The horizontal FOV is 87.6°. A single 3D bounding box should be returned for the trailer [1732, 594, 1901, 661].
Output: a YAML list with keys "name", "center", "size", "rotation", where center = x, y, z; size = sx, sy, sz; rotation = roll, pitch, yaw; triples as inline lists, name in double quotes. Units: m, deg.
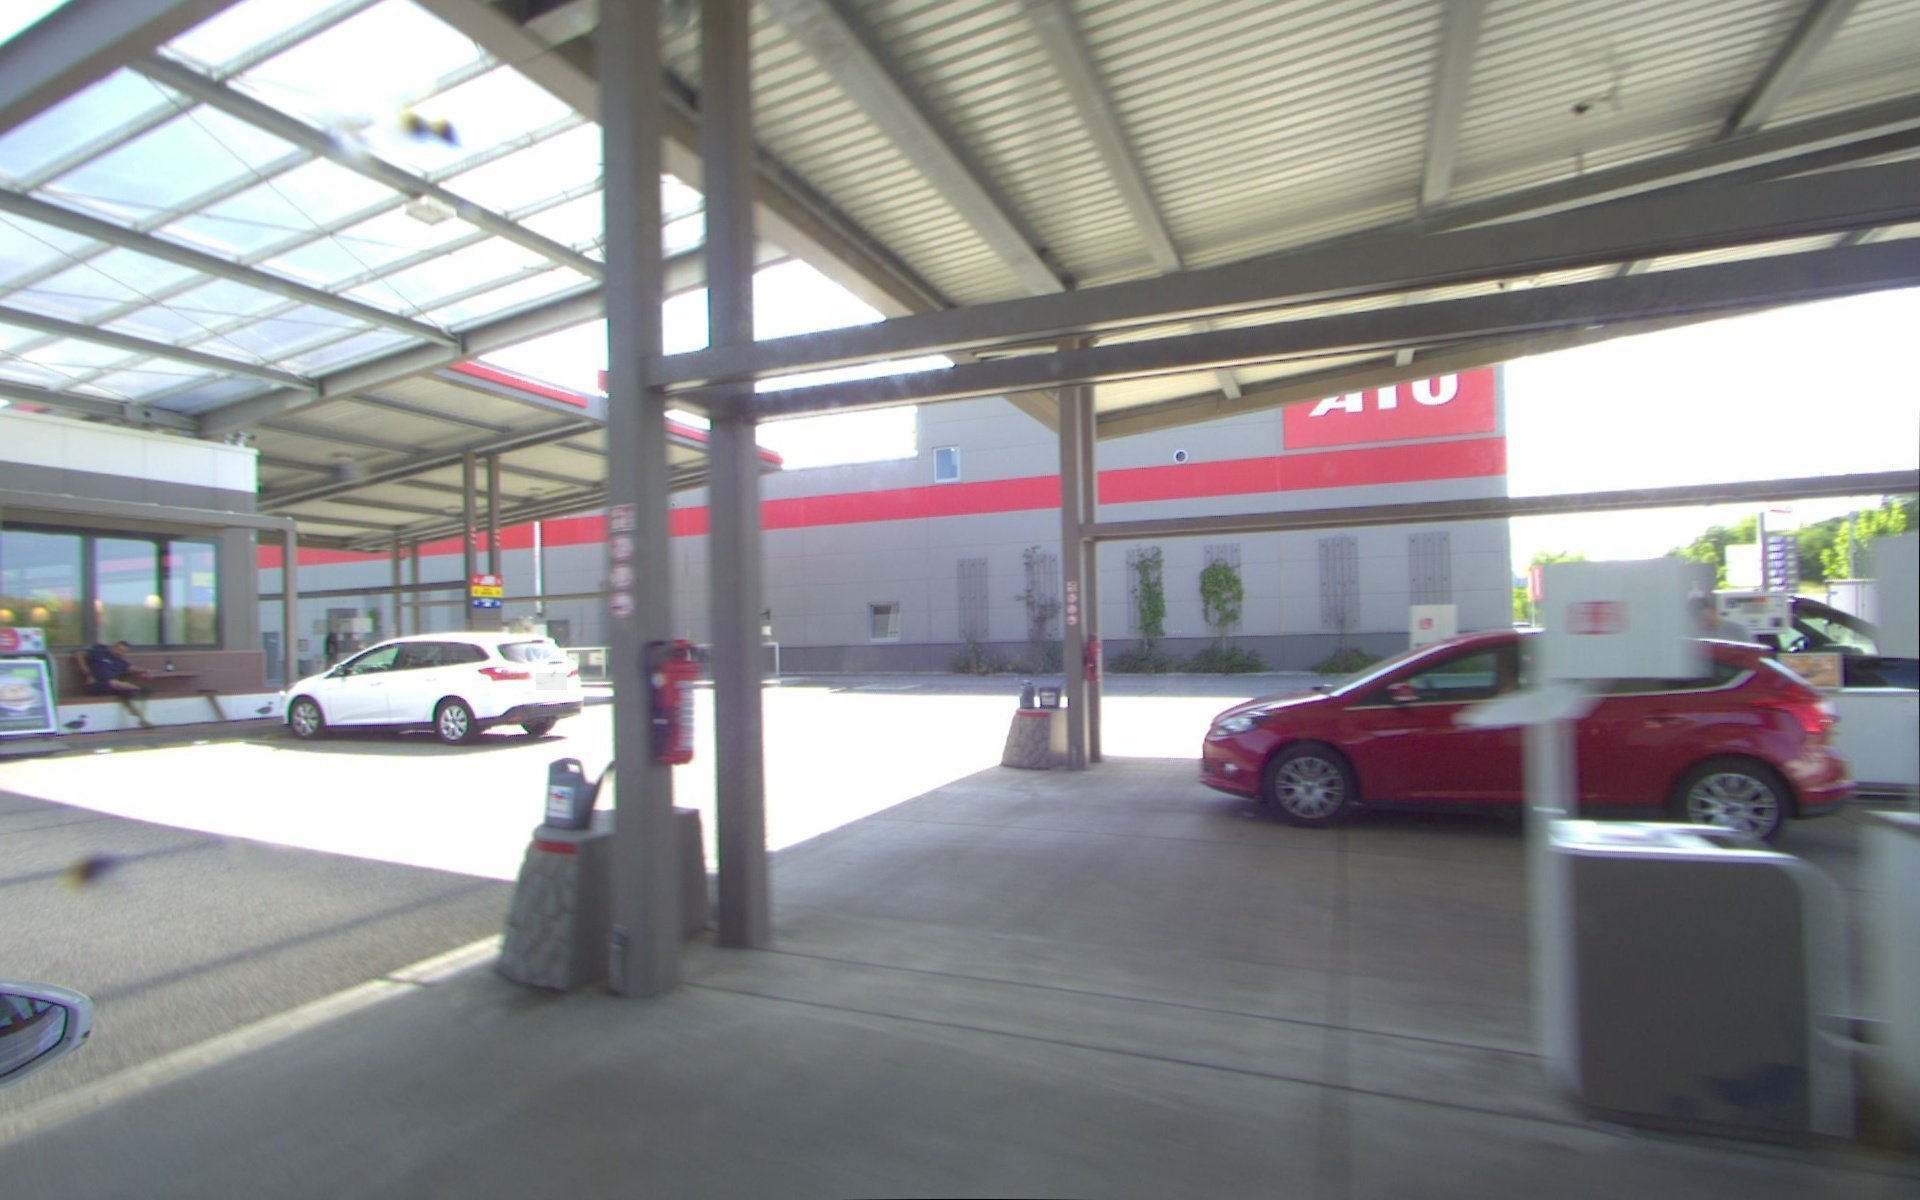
- name: "trailer"
  center: [27.467, 0.888, 32.194]
  size: [3.922, 2.039, 1.803]
  rotation: [0, -1, -3]

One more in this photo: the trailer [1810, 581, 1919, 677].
- name: "trailer"
  center: [25.529, 0.765, 27.083]
  size: [3.928, 2.458, 1.997]
  rotation: [0, -1, -16]

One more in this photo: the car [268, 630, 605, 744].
- name: "car"
  center: [-7.538, 1.201, 14.505]
  size: [4.242, 1.475, 1.834]
  rotation: [-1, -1, 16]

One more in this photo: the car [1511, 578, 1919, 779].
- name: "car"
  center: [8.639, 0.757, 10.574]
  size: [4.716, 1.875, 2.030]
  rotation: [0, -1, 22]

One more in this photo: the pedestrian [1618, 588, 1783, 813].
- name: "pedestrian"
  center: [6.007, 0.789, 8.176]
  size: [0.912, 1.724, 0.701]
  rotation: [-1, -1, 23]

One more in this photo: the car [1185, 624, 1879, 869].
- name: "car"
  center: [3.962, 0.953, 7.668]
  size: [4.160, 1.487, 1.700]
  rotation: [-1, -1, 22]

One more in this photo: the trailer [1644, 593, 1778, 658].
- name: "trailer"
  center: [29.849, 1.017, 39.865]
  size: [3.923, 2.458, 2.000]
  rotation: [-1, -1, -5]

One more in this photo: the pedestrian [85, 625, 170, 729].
- name: "pedestrian"
  center: [-11.935, 1.084, 14.364]
  size: [0.661, 1.450, 0.702]
  rotation: [-1, -1, 21]

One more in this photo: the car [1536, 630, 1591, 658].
- name: "car"
  center: [30.666, 2.227, 50.950]
  size: [1.652, 1.334, 3.828]
  rotation: [-1, -1, 20]
